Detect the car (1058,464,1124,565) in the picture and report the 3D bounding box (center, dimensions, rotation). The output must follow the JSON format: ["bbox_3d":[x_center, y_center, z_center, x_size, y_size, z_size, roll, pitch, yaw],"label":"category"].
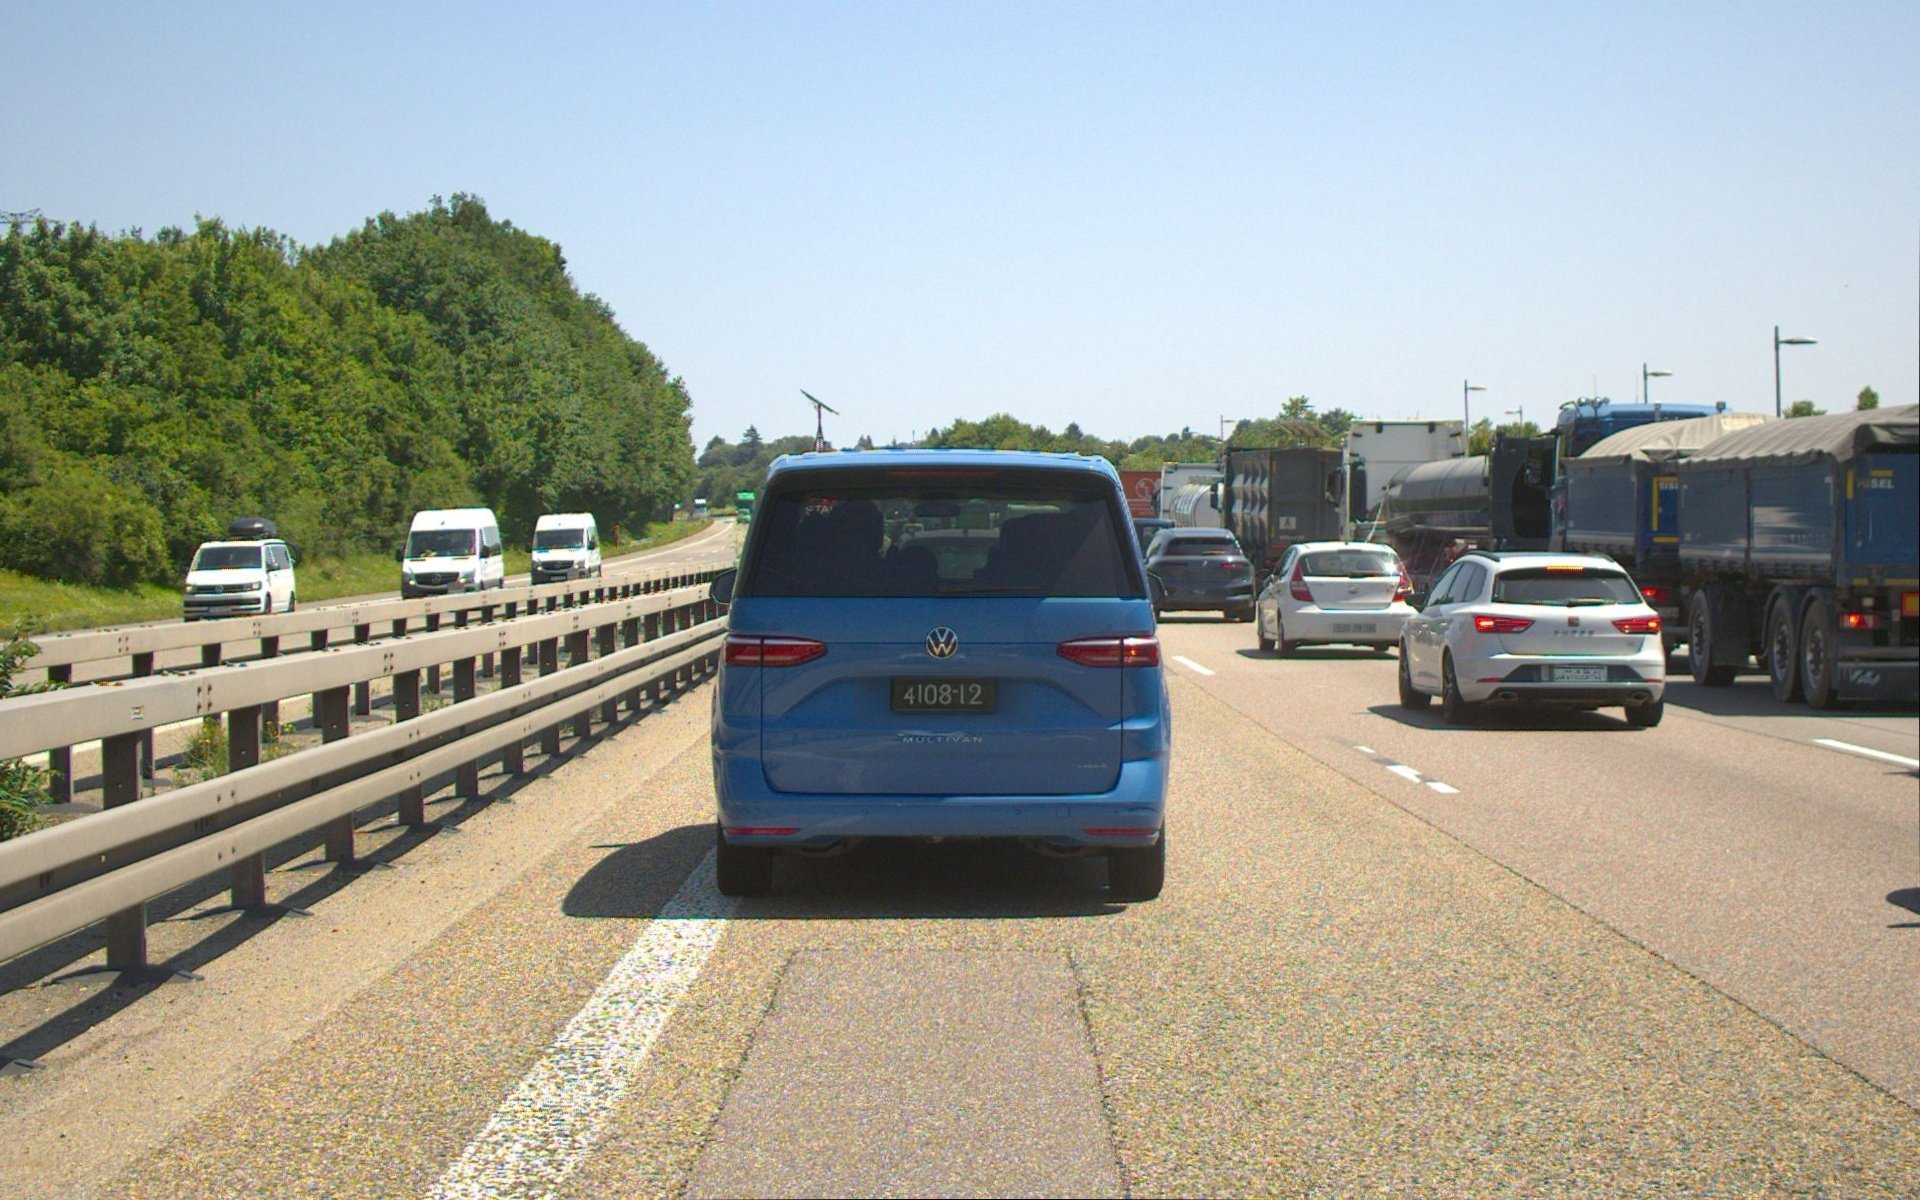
[{"bbox_3d":[6.994,-4.530,184.655,3.218,5.239,8.144,1,0,0],"label":"car"}]

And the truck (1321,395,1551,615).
[{"bbox_3d":[9.326,-1.808,68.226,3.626,4.080,7.524,1,0,1],"label":"truck"}]

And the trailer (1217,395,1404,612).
[{"bbox_3d":[8.837,-2.340,88.366,3.646,5.119,13.075,1,0,1],"label":"trailer"}]

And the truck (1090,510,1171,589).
[{"bbox_3d":[4.088,-1.202,82.888,1.725,1.851,4.000,1,0,0],"label":"truck"}]

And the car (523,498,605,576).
[{"bbox_3d":[-13.632,-2.137,118.678,2.156,2.585,5.890,-1,0,-1],"label":"car"}]

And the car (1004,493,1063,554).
[{"bbox_3d":[3.358,-3.502,158.748,2.550,2.708,5.621,1,0,0],"label":"car"}]

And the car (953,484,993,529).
[{"bbox_3d":[0.965,-6.981,256.619,2.485,3.193,7.373,1,0,-3],"label":"car"}]

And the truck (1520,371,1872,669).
[{"bbox_3d":[8.822,-0.961,42.079,2.744,3.300,7.133,1,1,0],"label":"truck"}]

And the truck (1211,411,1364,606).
[{"bbox_3d":[8.957,-2.475,94.732,3.658,5.162,5.708,1,0,1],"label":"truck"}]

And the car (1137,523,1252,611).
[{"bbox_3d":[4.219,-0.598,62.313,1.781,1.519,4.000,1,0,0],"label":"car"}]

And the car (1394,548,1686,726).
[{"bbox_3d":[4.834,0.261,29.164,1.867,1.356,4.000,1,1,1],"label":"car"}]

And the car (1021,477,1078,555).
[{"bbox_3d":[6.179,-5.828,239.422,3.218,5.239,8.145,1,0,-3],"label":"car"}]

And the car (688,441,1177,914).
[{"bbox_3d":[-0.064,0.290,15.555,1.901,1.831,4.000,1,0,1],"label":"car"}]

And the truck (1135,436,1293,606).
[{"bbox_3d":[8.215,-2.486,113.620,3.621,5.195,15.690,1,0,-1],"label":"truck"}]

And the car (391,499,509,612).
[{"bbox_3d":[-12.968,-1.127,87.810,2.052,2.642,5.839,-4,0,-1],"label":"car"}]

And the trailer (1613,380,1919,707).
[{"bbox_3d":[8.792,-0.567,34.428,2.744,2.827,9.116,1,1,0],"label":"trailer"}]

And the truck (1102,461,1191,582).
[{"bbox_3d":[7.870,-3.252,146.484,3.068,4.903,10.690,1,0,0],"label":"truck"}]

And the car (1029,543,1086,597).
[{"bbox_3d":[3.718,-1.153,131.729,1.993,2.007,4.000,1,0,0],"label":"car"}]

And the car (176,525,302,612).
[{"bbox_3d":[-16.839,-0.728,80.536,1.864,1.898,5.493,-2,0,-1],"label":"car"}]

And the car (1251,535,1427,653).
[{"bbox_3d":[4.898,-0.090,44.906,1.840,1.449,4.000,1,0,0],"label":"car"}]

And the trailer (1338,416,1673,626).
[{"bbox_3d":[8.972,-1.227,59.017,3.646,3.068,15.771,1,0,2],"label":"trailer"}]
